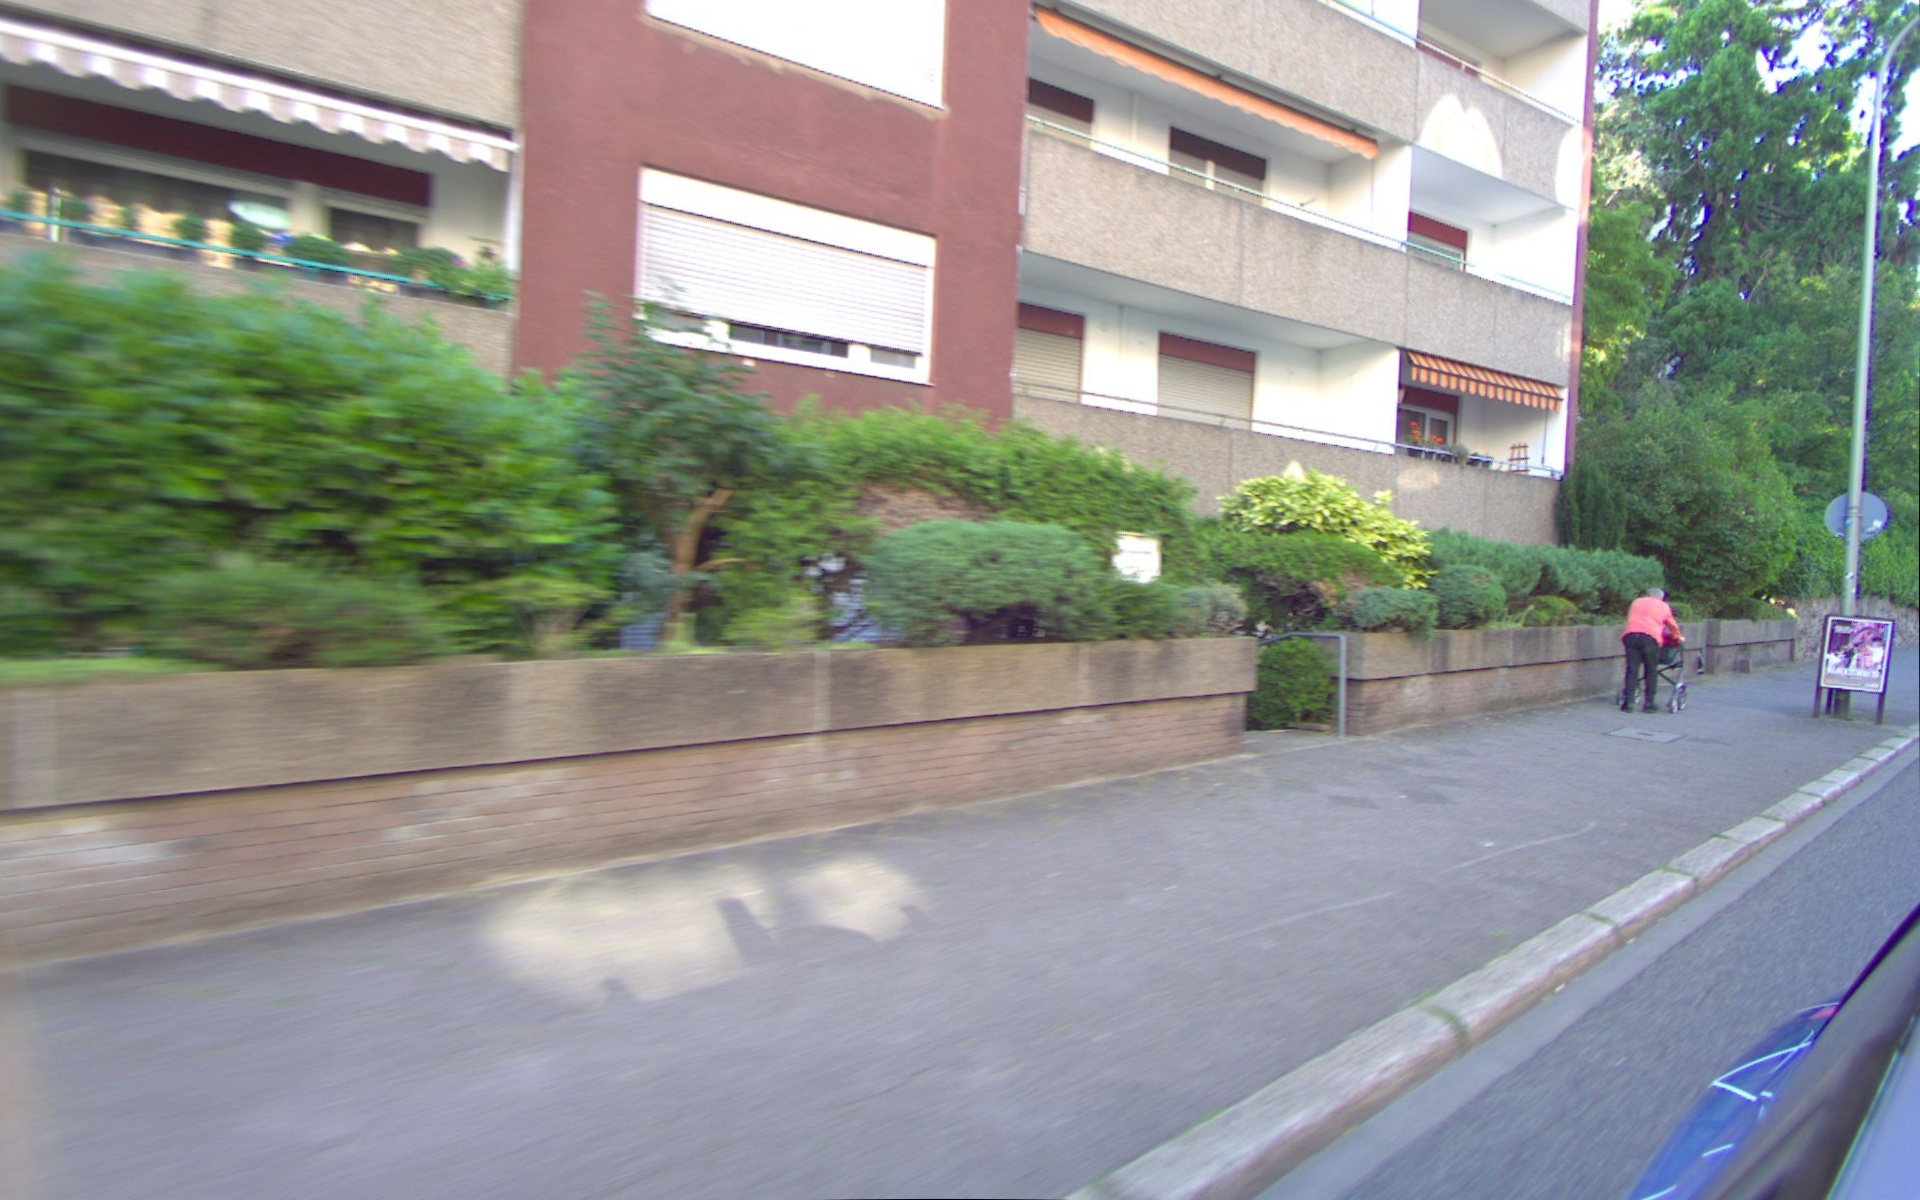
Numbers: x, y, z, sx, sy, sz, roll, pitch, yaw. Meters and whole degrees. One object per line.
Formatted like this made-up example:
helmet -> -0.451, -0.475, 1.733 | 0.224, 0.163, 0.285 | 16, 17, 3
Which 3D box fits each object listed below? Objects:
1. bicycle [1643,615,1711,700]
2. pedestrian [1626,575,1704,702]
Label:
bicycle -> 8.656, 0.681, 12.214 | 0.484, 0.982, 0.567 | 2, 0, -42
pedestrian -> 8.199, 0.434, 11.771 | 0.656, 1.421, 0.598 | 2, 0, -42
